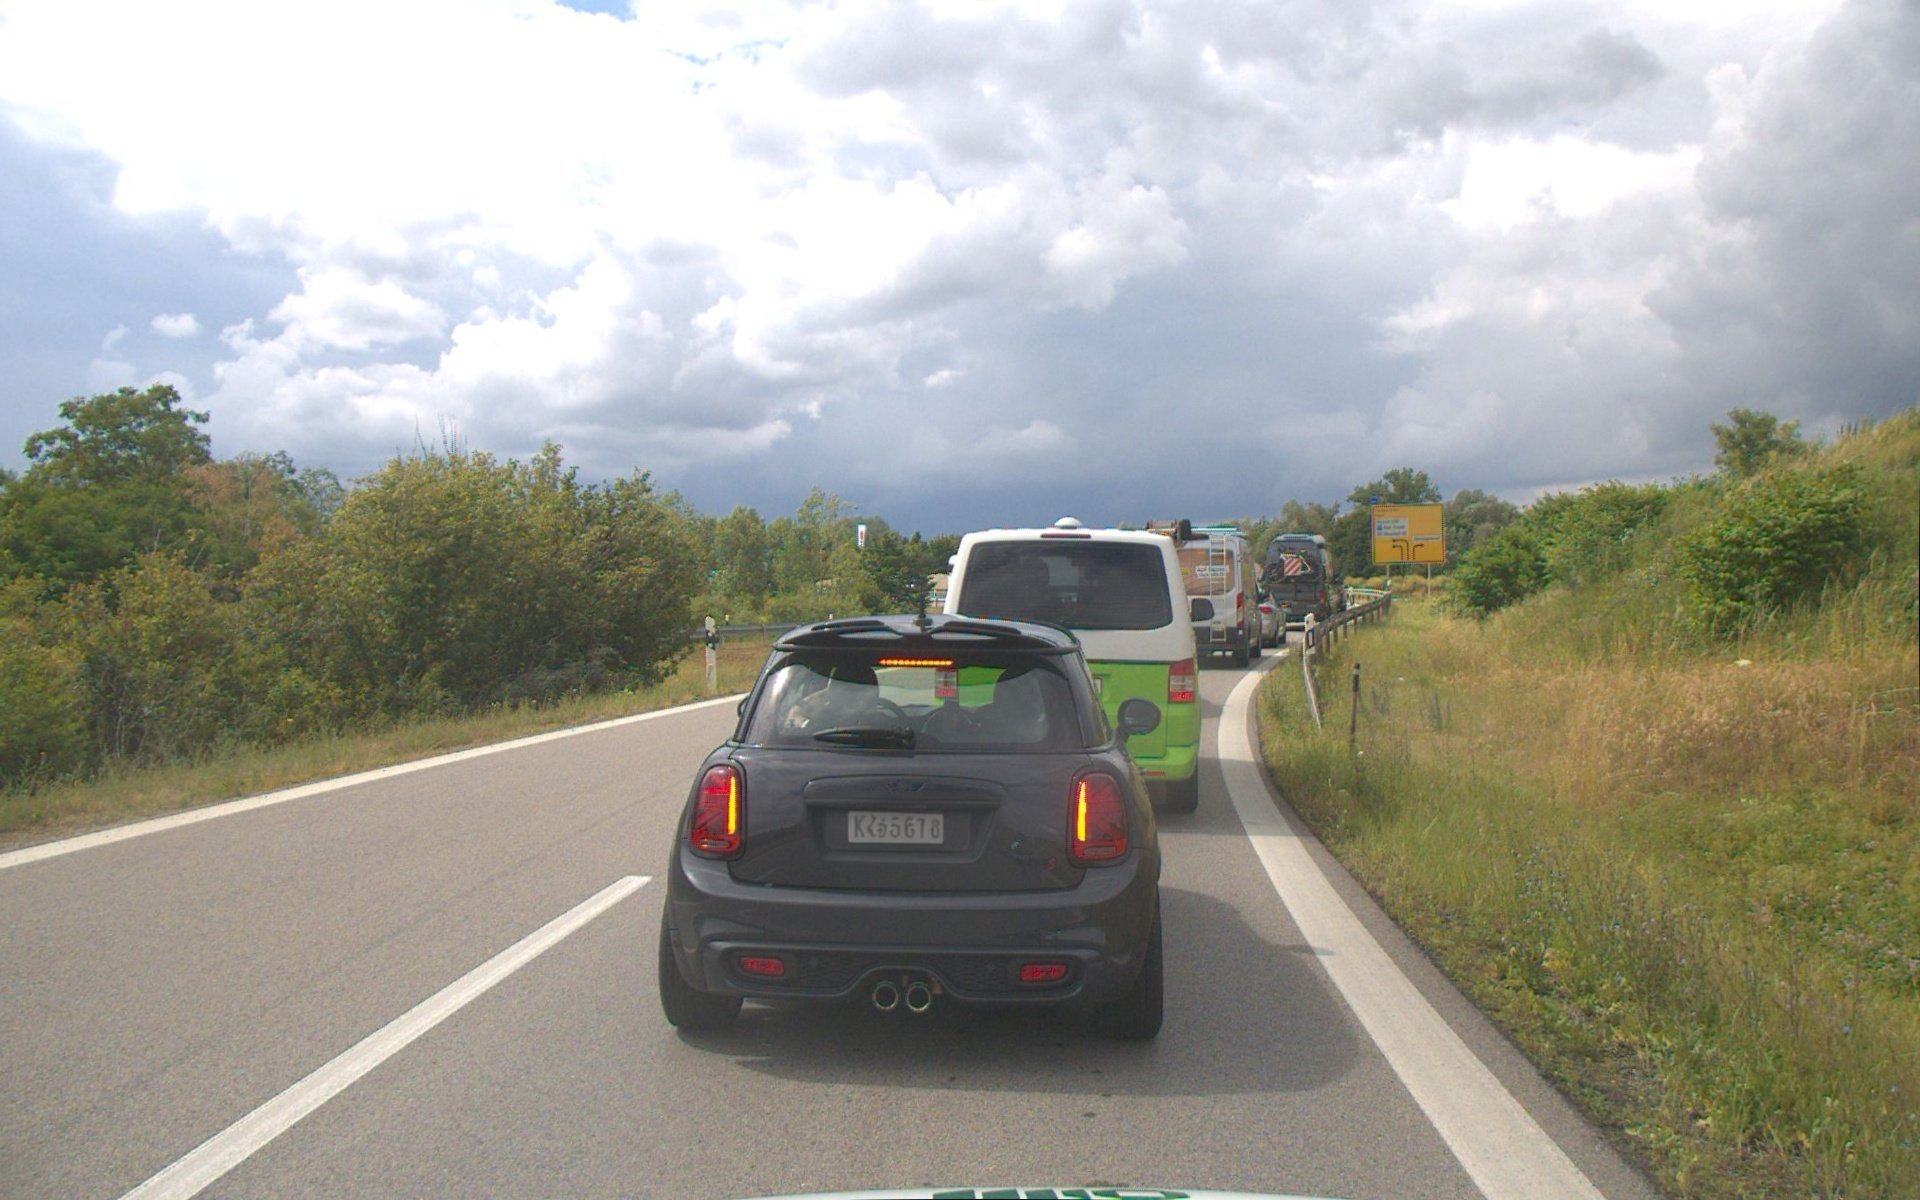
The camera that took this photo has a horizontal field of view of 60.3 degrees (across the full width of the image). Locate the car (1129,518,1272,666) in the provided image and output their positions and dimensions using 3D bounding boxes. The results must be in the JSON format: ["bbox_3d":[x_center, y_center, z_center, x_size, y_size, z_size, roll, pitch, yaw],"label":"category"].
[{"bbox_3d":[4.879,-0.137,32.847,2.165,2.668,5.538,1,0,15],"label":"car"}]

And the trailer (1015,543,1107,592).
[{"bbox_3d":[8.380,-2.651,138.342,3.009,3.966,8.669,1,0,-34],"label":"trailer"}]

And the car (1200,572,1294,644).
[{"bbox_3d":[7.175,0.210,41.094,1.951,1.671,3.931,1,0,15],"label":"car"}]

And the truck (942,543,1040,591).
[{"bbox_3d":[2.645,-2.859,145.555,2.819,4.045,9.882,1,0,-40],"label":"truck"}]

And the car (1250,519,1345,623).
[{"bbox_3d":[10.870,-0.856,52.865,2.262,3.122,6.665,1,0,18],"label":"car"}]

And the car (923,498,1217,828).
[{"bbox_3d":[0.971,0.391,12.651,1.870,2.081,4.184,0,0,8],"label":"car"}]

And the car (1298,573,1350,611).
[{"bbox_3d":[16.163,-0.335,73.263,1.853,1.616,4.497,1,0,18],"label":"car"}]

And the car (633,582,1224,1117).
[{"bbox_3d":[0.004,0.726,6.815,1.762,1.573,3.740,0,0,3],"label":"car"}]

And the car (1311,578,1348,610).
[{"bbox_3d":[22.520,-0.344,100.933,2.050,1.916,4.499,1,0,10],"label":"car"}]

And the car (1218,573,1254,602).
[{"bbox_3d":[19.219,-0.875,115.432,2.051,1.916,4.497,1,0,4],"label":"car"}]
